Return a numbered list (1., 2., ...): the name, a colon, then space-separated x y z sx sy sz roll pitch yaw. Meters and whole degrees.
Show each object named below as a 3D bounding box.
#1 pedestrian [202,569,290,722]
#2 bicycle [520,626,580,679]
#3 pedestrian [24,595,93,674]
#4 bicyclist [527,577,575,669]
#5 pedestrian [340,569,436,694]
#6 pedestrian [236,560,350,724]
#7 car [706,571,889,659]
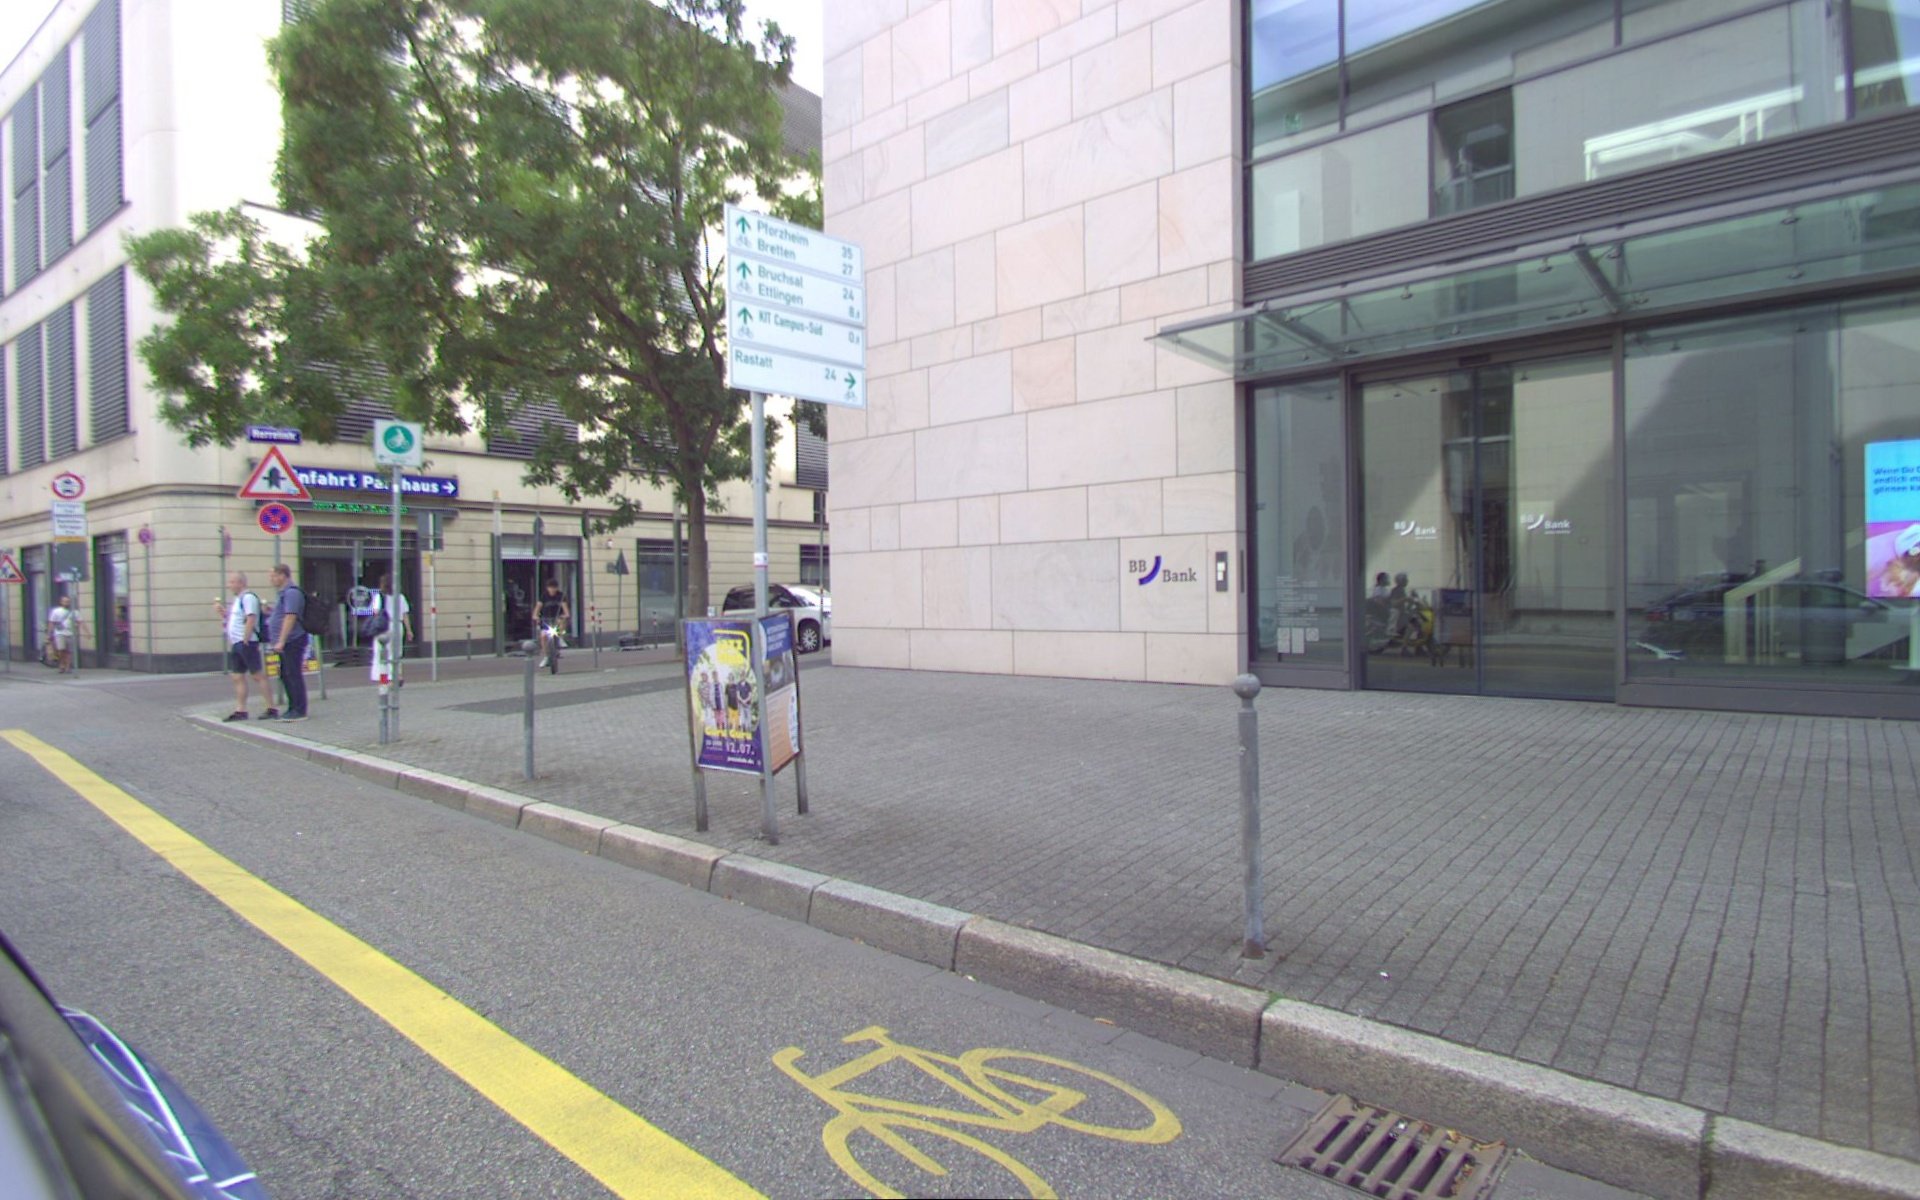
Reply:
1. pedestrian: -8.608 0.529 12.201 0.651 1.778 0.637 -1 0 29
2. bicycle: -7.514 0.944 18.620 0.592 0.840 1.728 -5 1 -9
3. pedestrian: -21.739 0.817 24.409 1.057 1.778 0.883 -1 4 33
4. bicyclist: -7.578 0.409 18.777 0.613 1.631 0.645 -3 1 -9
5. pedestrian: -8.398 0.442 14.864 0.909 1.721 0.868 0 4 40
6. pedestrian: -7.830 0.470 11.891 0.753 1.827 0.738 -1 3 29
7. car: -3.761 0.375 23.166 3.957 1.706 1.876 -5 -2 37
